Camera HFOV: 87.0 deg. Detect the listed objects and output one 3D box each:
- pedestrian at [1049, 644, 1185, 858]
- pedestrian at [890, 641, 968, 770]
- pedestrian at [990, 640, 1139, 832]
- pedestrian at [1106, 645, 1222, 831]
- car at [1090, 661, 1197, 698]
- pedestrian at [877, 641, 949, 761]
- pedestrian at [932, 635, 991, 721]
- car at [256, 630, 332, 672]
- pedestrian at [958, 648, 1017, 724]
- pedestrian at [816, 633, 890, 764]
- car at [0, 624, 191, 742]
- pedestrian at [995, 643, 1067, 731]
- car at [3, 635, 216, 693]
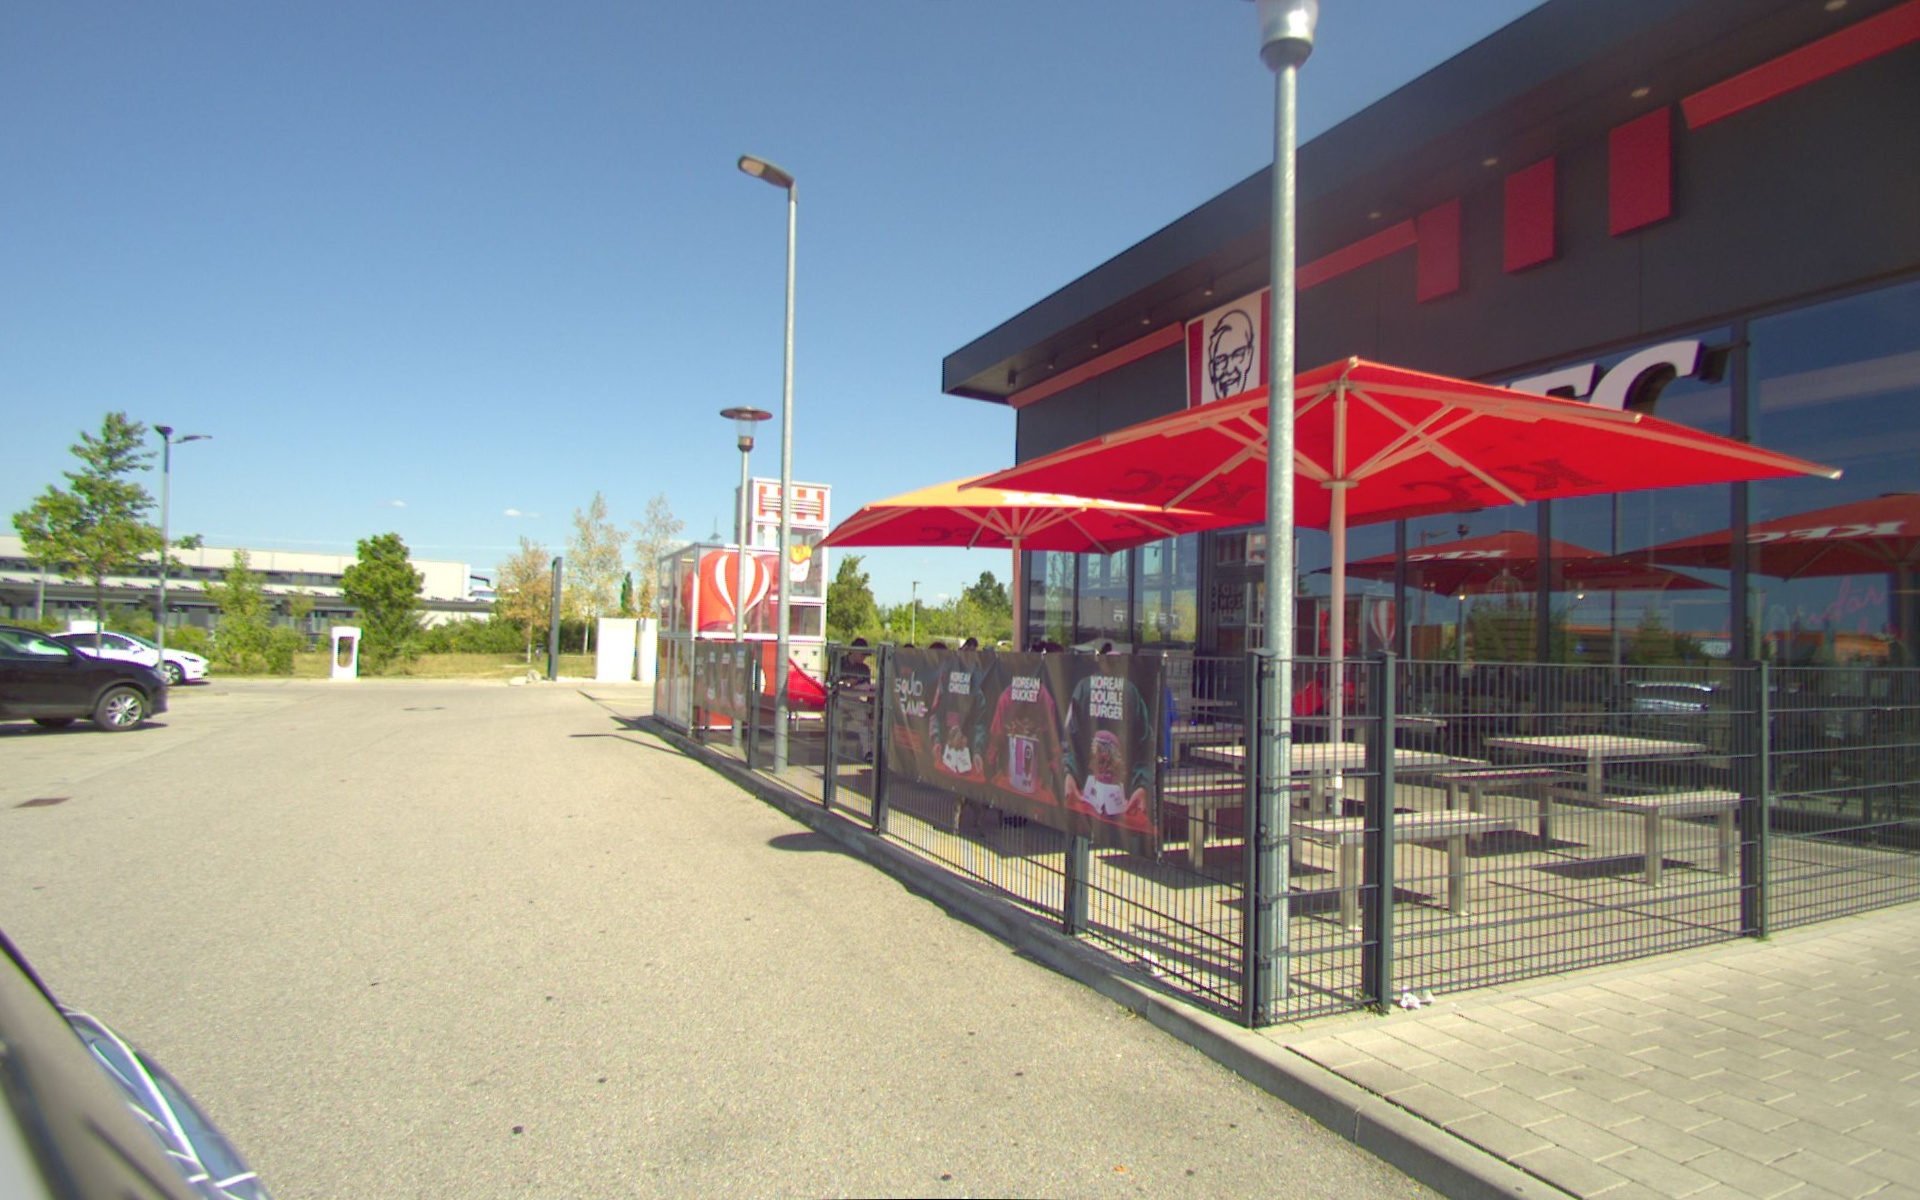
[{"bbox_3d":[1.015,0.930,6.539,0.604,1.283,0.625,3,-4,-42],"label":"pedestrian"},{"bbox_3d":[-0.338,1.095,10.732,0.654,1.314,0.714,1,-3,-17],"label":"pedestrian"},{"bbox_3d":[0.756,0.941,7.363,0.675,1.283,0.843,3,-4,-42],"label":"pedestrian"},{"bbox_3d":[1.512,0.984,7.496,0.675,1.283,0.552,3,-4,-42],"label":"pedestrian"},{"bbox_3d":[8.463,3.637,46.696,4.356,1.538,2.225,2,-2,-26],"label":"car"},{"bbox_3d":[-0.546,1.128,11.531,0.654,1.314,0.689,1,-3,-17],"label":"pedestrian"},{"bbox_3d":[0.025,1.332,17.462,0.784,1.454,0.696,2,-3,-27],"label":"pedestrian"},{"bbox_3d":[-29.604,2.257,45.110,1.886,1.763,4.270,2,-3,-20],"label":"car"},{"bbox_3d":[0.449,1.397,16.684,0.741,1.209,0.697,2,-3,-24],"label":"pedestrian"},{"bbox_3d":[-1.206,1.074,11.297,0.654,1.398,0.810,1,-3,-17],"label":"pedestrian"},{"bbox_3d":[-13.803,1.151,14.325,1.844,1.603,4.273,0,-4,21],"label":"car"},{"bbox_3d":[1.104,1.336,15.844,0.742,1.322,0.948,2,-3,-24],"label":"pedestrian"},{"bbox_3d":[-25.053,1.899,30.064,4.498,1.605,1.848,3,-3,-29],"label":"car"}]
